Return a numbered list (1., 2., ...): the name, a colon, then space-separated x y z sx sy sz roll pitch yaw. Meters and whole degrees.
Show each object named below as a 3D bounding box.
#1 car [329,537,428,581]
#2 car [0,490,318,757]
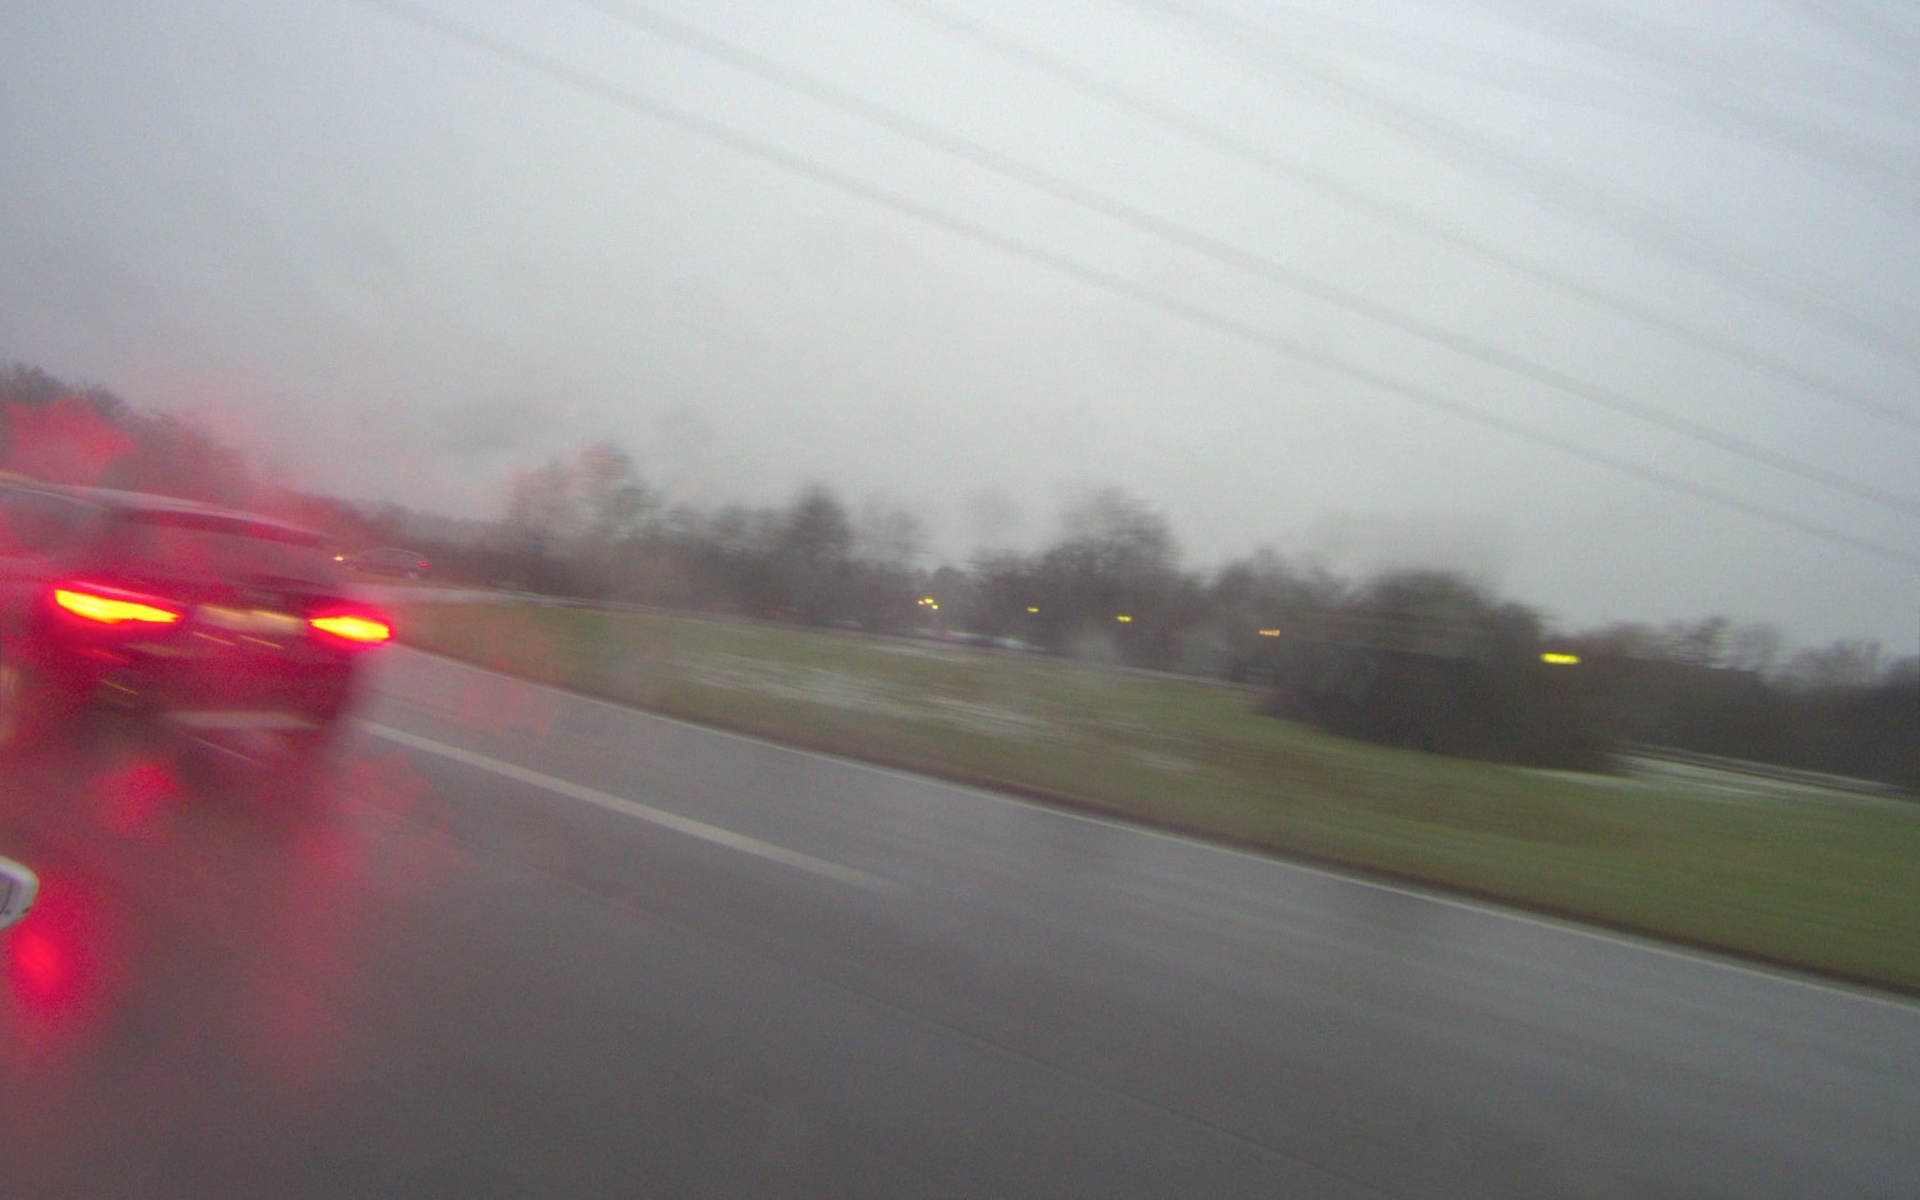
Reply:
1. car: -26.997 -1.899 46.728 3.784 1.451 1.778 9 -1 -33
2. car: -6.684 0.021 7.420 3.745 1.526 1.681 7 -1 31
